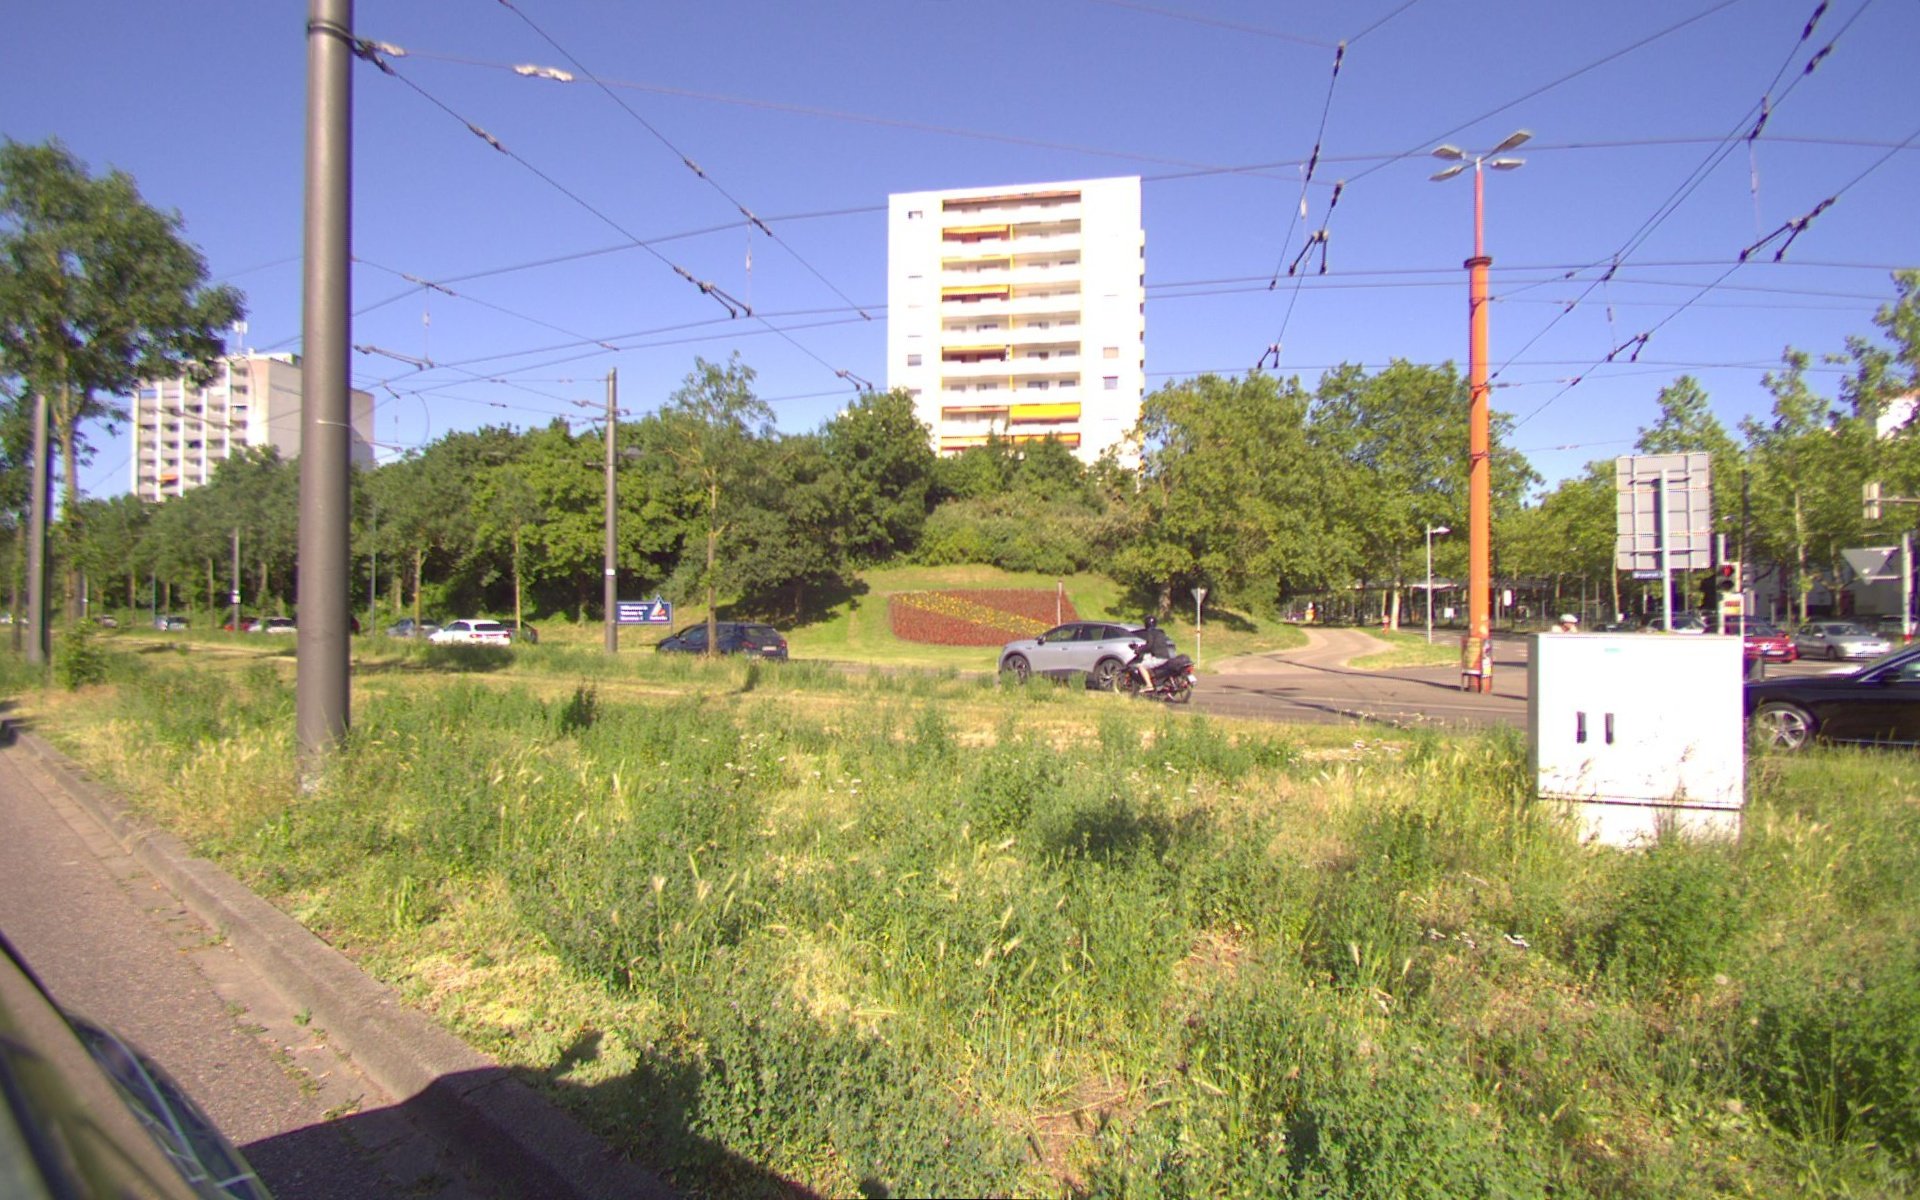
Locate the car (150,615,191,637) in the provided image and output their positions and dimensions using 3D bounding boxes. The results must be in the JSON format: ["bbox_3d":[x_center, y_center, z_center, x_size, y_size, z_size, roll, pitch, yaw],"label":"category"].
[{"bbox_3d":[-58.164,1.908,74.569,3.757,1.620,1.744,-1,-2,42],"label":"car"}]

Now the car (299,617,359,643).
[{"bbox_3d":[-38.648,1.820,61.909,4.631,1.492,1.972,-1,0,43],"label":"car"}]

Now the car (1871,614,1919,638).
[{"bbox_3d":[64.812,1.772,68.721,1.864,1.608,4.010,0,0,-34],"label":"car"}]

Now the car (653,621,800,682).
[{"bbox_3d":[-6.714,1.415,28.818,4.465,1.606,1.971,-1,-2,44],"label":"car"}]

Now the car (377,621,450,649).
[{"bbox_3d":[-29.584,1.878,54.720,4.693,1.443,1.972,-1,-2,42],"label":"car"}]

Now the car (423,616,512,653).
[{"bbox_3d":[-20.198,1.385,41.408,4.642,1.433,1.685,-1,-2,42],"label":"car"}]

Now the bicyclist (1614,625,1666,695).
[{"bbox_3d":[13.350,1.172,19.876,0.541,1.333,0.700,-1,0,3],"label":"bicyclist"}]

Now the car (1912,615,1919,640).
[{"bbox_3d":[64.132,1.767,65.015,1.864,1.608,4.010,0,0,-34],"label":"car"}]

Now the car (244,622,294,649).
[{"bbox_3d":[-40.702,2.068,59.572,4.184,1.484,1.571,-1,-3,44],"label":"car"}]

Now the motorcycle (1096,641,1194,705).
[{"bbox_3d":[3.607,1.416,19.948,0.416,1.140,2.098,0,0,-41],"label":"motorcycle"}]

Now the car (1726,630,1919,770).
[{"bbox_3d":[11.768,1.142,11.640,4.603,1.496,1.856,-1,0,41],"label":"car"}]

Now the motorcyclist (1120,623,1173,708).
[{"bbox_3d":[3.653,1.258,19.821,0.825,1.611,0.641,0,0,-41],"label":"motorcyclist"}]

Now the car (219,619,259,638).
[{"bbox_3d":[-52.806,2.074,74.115,4.177,1.307,1.639,-1,0,43],"label":"car"}]

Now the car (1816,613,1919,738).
[{"bbox_3d":[14.469,1.045,13.909,4.060,1.720,1.781,-1,-2,43],"label":"car"}]

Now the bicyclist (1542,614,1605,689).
[{"bbox_3d":[12.176,1.013,20.109,0.741,1.441,0.758,-1,0,-3],"label":"bicyclist"}]

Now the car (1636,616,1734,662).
[{"bbox_3d":[30.632,1.612,42.910,1.893,1.763,3.985,-1,0,11],"label":"car"}]

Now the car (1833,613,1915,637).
[{"bbox_3d":[65.523,1.778,72.621,1.864,1.608,4.010,0,0,-34],"label":"car"}]

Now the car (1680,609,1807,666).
[{"bbox_3d":[28.665,1.325,37.216,1.979,1.915,4.259,-1,0,11],"label":"car"}]

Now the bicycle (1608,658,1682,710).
[{"bbox_3d":[13.347,1.622,19.767,0.363,0.889,1.625,-1,0,2],"label":"bicycle"}]

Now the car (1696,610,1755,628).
[{"bbox_3d":[71.644,1.789,94.709,1.864,1.608,4.010,0,0,-34],"label":"car"}]

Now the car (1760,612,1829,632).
[{"bbox_3d":[68.286,1.783,82.840,1.864,1.608,4.010,0,0,-34],"label":"car"}]

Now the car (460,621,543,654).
[{"bbox_3d":[-21.147,1.679,46.605,4.400,1.384,1.972,-1,0,43],"label":"car"}]

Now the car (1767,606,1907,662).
[{"bbox_3d":[31.863,1.190,36.964,1.979,1.915,4.259,-1,0,11],"label":"car"}]

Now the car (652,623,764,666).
[{"bbox_3d":[-8.802,1.514,35.227,4.030,1.352,1.841,-1,-2,42],"label":"car"}]

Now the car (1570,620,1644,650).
[{"bbox_3d":[31.586,1.705,49.524,1.718,1.332,3.985,-1,0,11],"label":"car"}]

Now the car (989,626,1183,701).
[{"bbox_3d":[2.942,1.447,24.328,4.439,1.613,1.817,-1,-2,44],"label":"car"}]

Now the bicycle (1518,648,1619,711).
[{"bbox_3d":[12.134,1.557,20.275,0.467,1.089,2.362,-1,0,-3],"label":"bicycle"}]

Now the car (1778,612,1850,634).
[{"bbox_3d":[67.060,1.785,79.515,1.864,1.608,4.010,0,0,-34],"label":"car"}]
